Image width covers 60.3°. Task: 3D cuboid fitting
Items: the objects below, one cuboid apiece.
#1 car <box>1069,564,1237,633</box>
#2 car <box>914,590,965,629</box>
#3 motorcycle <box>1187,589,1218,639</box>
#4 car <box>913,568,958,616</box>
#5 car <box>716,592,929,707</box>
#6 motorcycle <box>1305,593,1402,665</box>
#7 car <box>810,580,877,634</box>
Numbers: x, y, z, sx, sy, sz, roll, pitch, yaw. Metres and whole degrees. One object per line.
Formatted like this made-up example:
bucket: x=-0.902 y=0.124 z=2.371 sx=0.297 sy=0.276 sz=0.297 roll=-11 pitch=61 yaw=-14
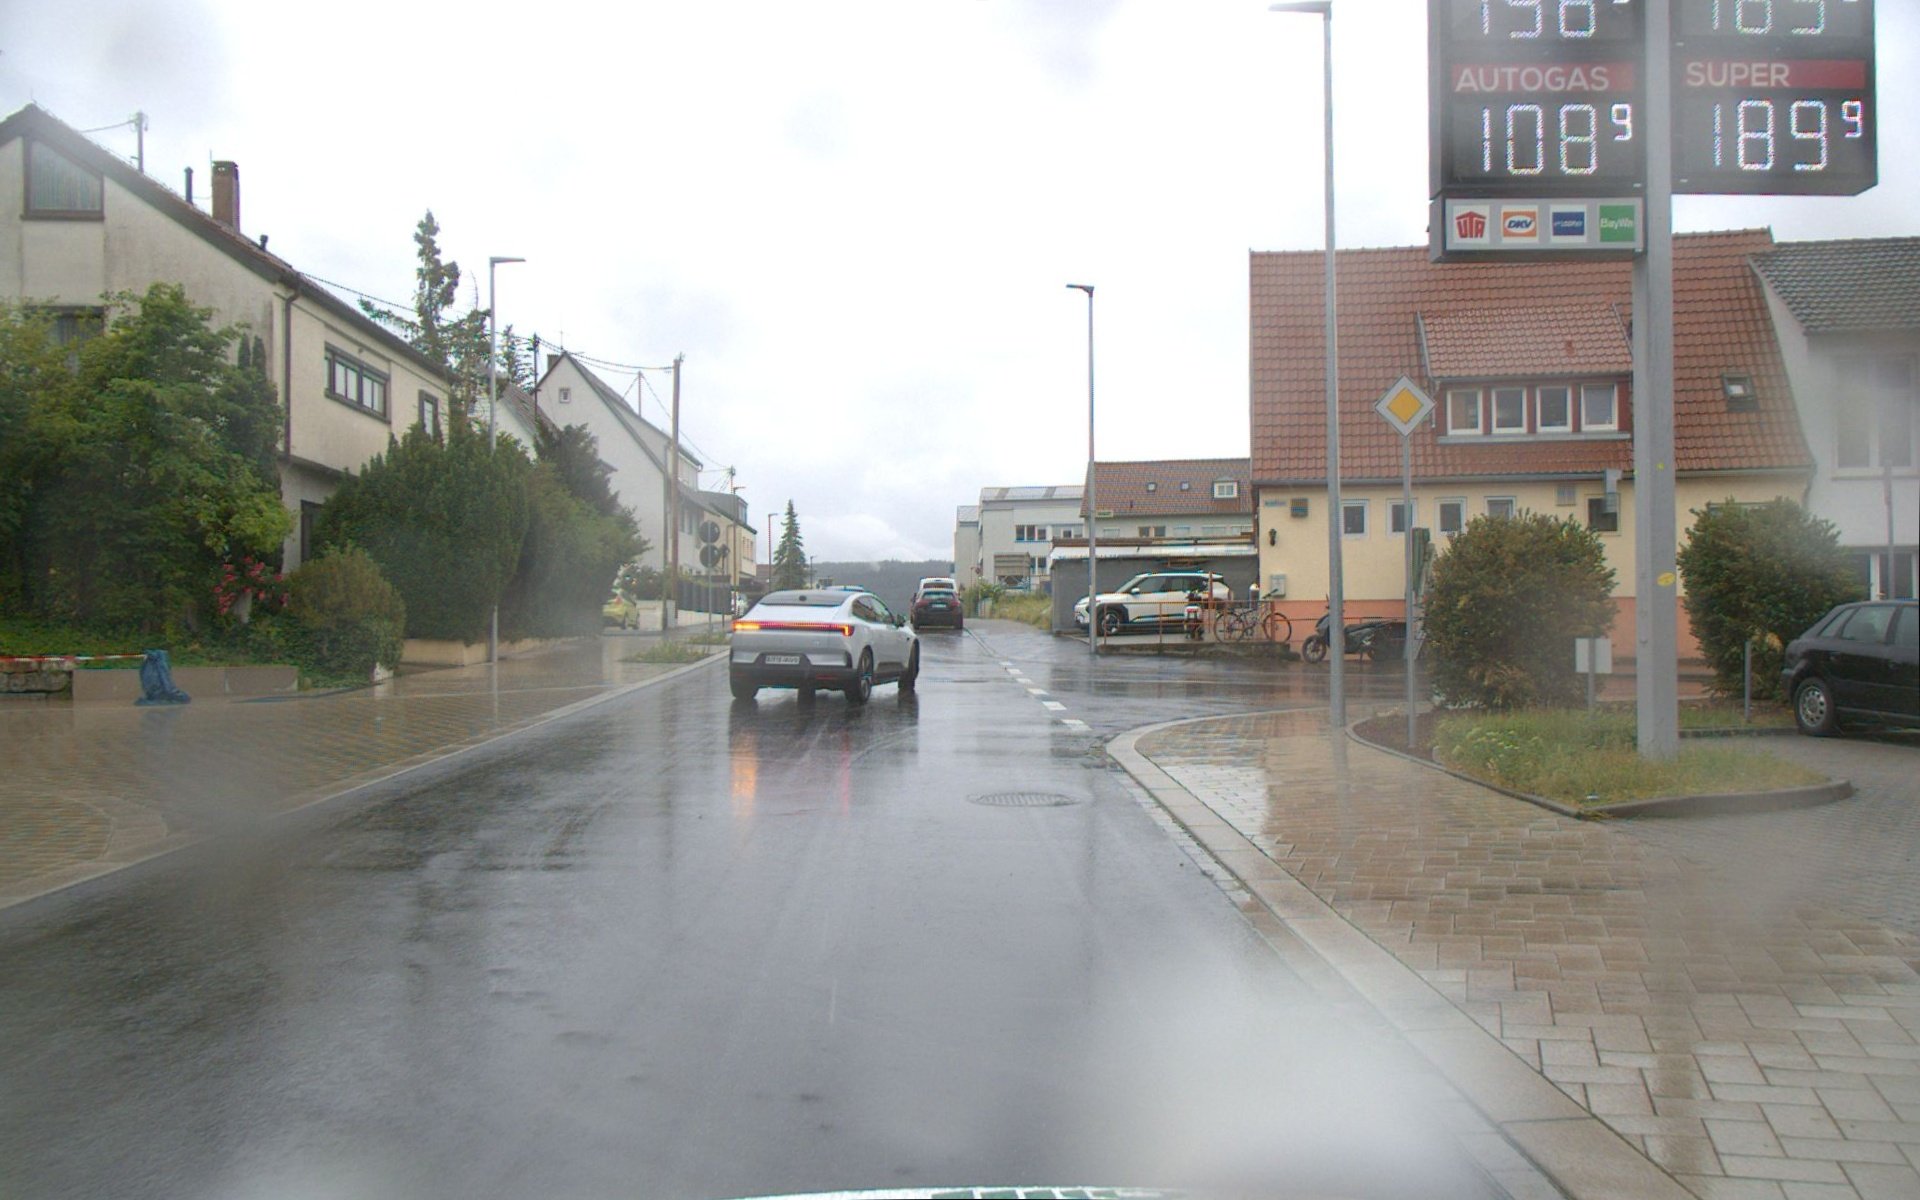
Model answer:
car: x=5.076 y=-0.029 z=43.882 sx=4.133 sy=1.638 sz=1.860 roll=-2 pitch=-1 yaw=-3
car: x=-0.777 y=0.339 z=59.868 sx=1.733 sy=1.359 sz=4.319 roll=1 pitch=0 yaw=-2
motorcycle: x=5.585 y=0.307 z=38.153 sx=0.477 sy=1.115 sz=2.001 roll=0 pitch=1 yaw=2
car: x=-1.018 y=-0.320 z=66.802 sx=1.733 sy=1.857 sz=4.572 roll=1 pitch=0 yaw=-2
car: x=-1.902 y=0.665 z=24.518 sx=1.951 sy=1.528 sz=4.674 roll=0 pitch=0 yaw=11
motorcycle: x=8.295 y=0.604 z=34.929 sx=1.989 sy=1.482 sz=0.489 roll=0 pitch=-1 yaw=11
car: x=-3.553 y=0.217 z=51.011 sx=1.890 sy=1.566 sz=4.319 roll=1 pitch=0 yaw=-2
